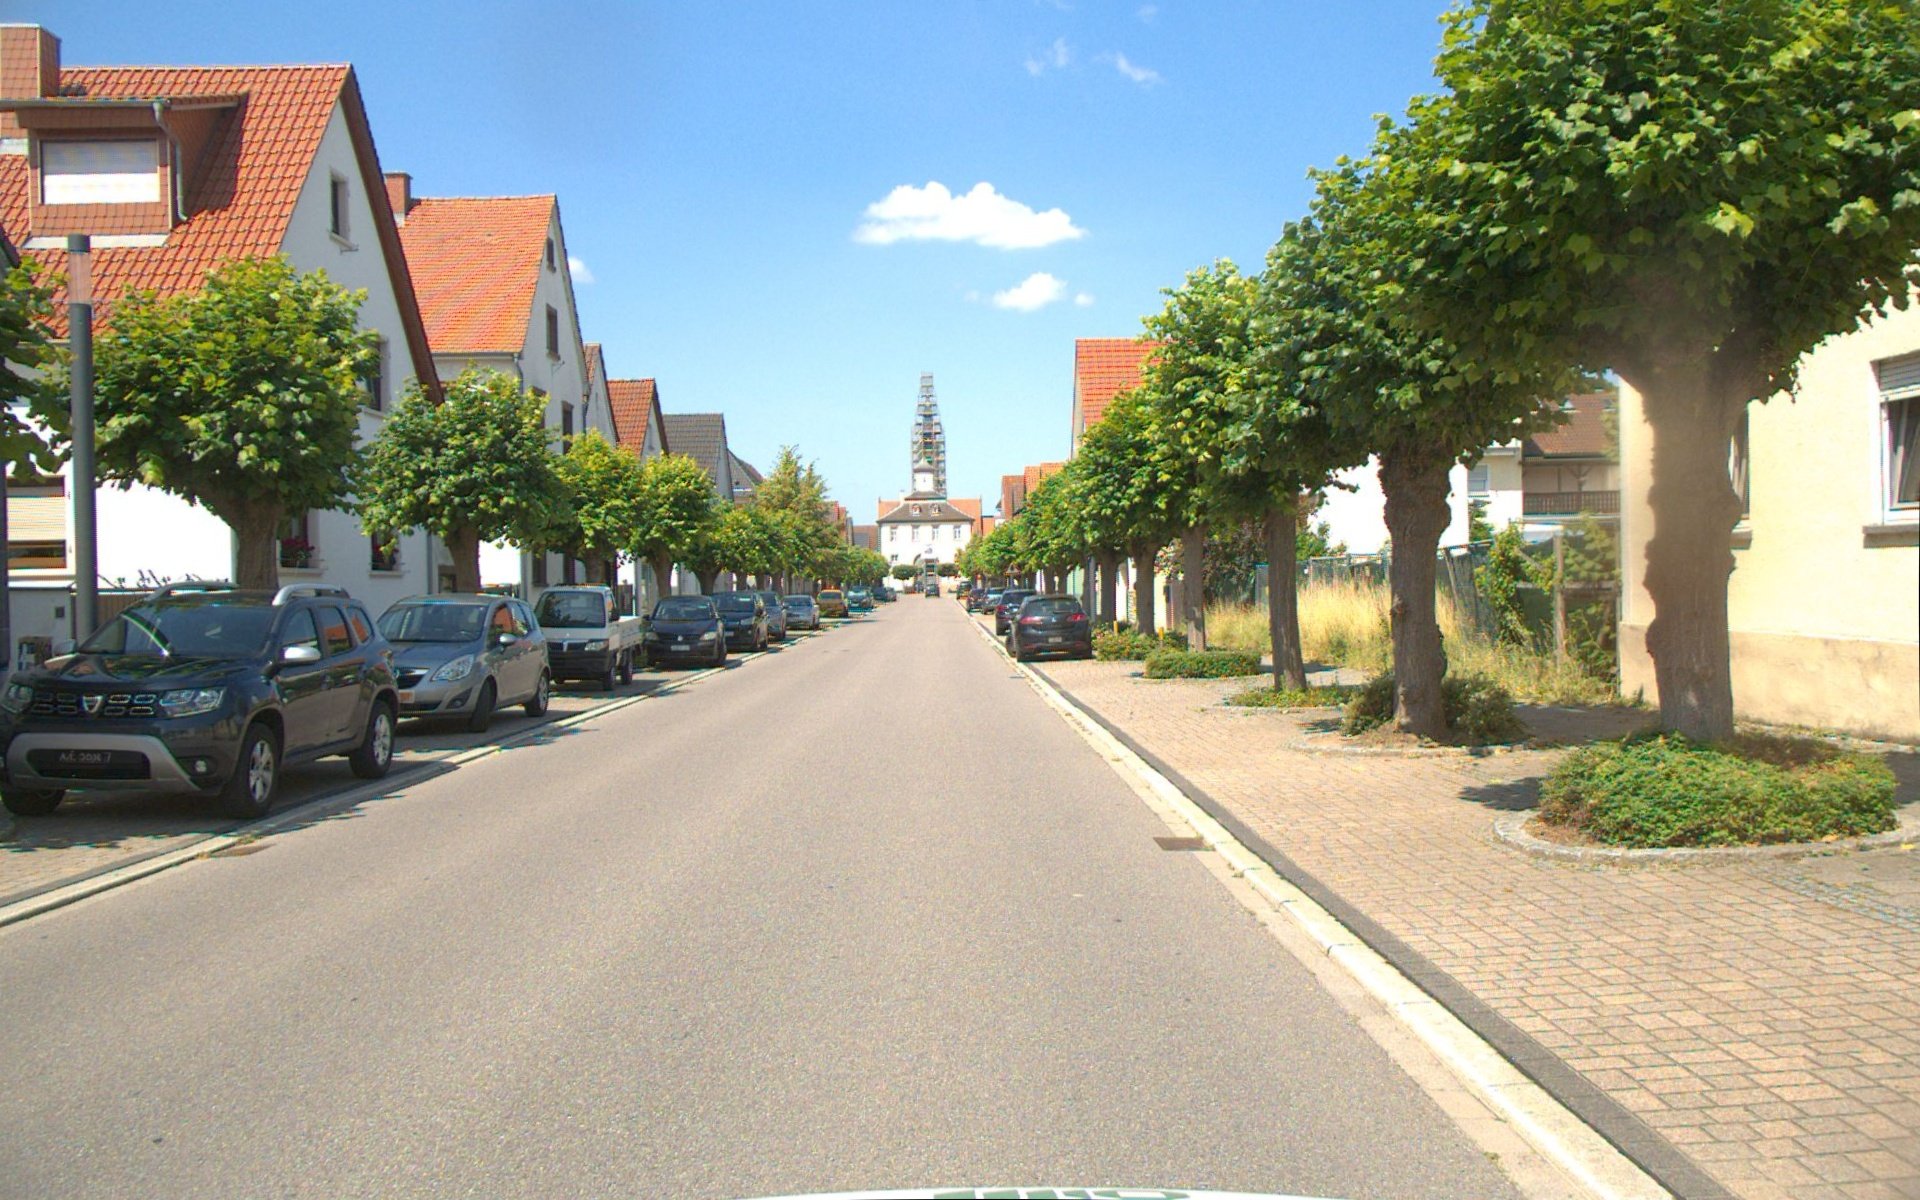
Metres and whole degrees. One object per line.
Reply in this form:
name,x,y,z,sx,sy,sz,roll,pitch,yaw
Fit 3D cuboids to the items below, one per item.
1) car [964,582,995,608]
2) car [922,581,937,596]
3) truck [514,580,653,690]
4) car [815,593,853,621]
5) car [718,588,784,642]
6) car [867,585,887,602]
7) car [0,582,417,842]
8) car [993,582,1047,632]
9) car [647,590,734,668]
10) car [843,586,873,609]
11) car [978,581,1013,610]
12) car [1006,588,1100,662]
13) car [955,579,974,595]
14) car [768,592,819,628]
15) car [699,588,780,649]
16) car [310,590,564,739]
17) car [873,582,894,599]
car,1.259,-0.359,107.655,1.800,1.582,4.313,-3,1,-1
car,-3.382,-1.248,183.430,1.694,1.574,3.455,0,0,-1
truck,-6.557,0.563,29.201,1.544,1.796,4.191,1,0,-1
car,-7.607,0.382,100.051,1.953,1.639,4.689,0,1,0
car,-6.986,0.466,55.708,1.954,1.681,4.364,1,0,-4
car,-8.242,-0.653,164.551,1.722,1.582,4.020,-2,1,0
car,-5.911,0.722,13.147,1.815,1.665,4.299,1,1,-1
car,2.171,0.229,59.211,1.786,1.613,4.059,-3,1,3
car,-6.075,0.617,37.620,1.751,1.662,3.995,0,0,-6
car,-7.469,-0.197,121.565,1.953,1.639,4.689,0,1,0
car,2.126,-0.292,99.997,1.800,1.635,3.998,-1,1,-2
car,2.092,0.535,38.124,1.787,1.457,4.056,-4,1,-1
car,0.435,-1.330,170.378,1.800,1.582,4.313,-3,1,0
car,-7.021,0.408,70.009,1.803,1.420,4.405,-1,1,-1
car,-6.201,0.505,46.918,1.815,1.664,4.056,0,0,-1
car,-6.361,0.717,20.643,1.815,1.641,4.370,1,0,-1
car,-7.831,-0.969,170.300,1.953,1.639,3.855,0,0,0
